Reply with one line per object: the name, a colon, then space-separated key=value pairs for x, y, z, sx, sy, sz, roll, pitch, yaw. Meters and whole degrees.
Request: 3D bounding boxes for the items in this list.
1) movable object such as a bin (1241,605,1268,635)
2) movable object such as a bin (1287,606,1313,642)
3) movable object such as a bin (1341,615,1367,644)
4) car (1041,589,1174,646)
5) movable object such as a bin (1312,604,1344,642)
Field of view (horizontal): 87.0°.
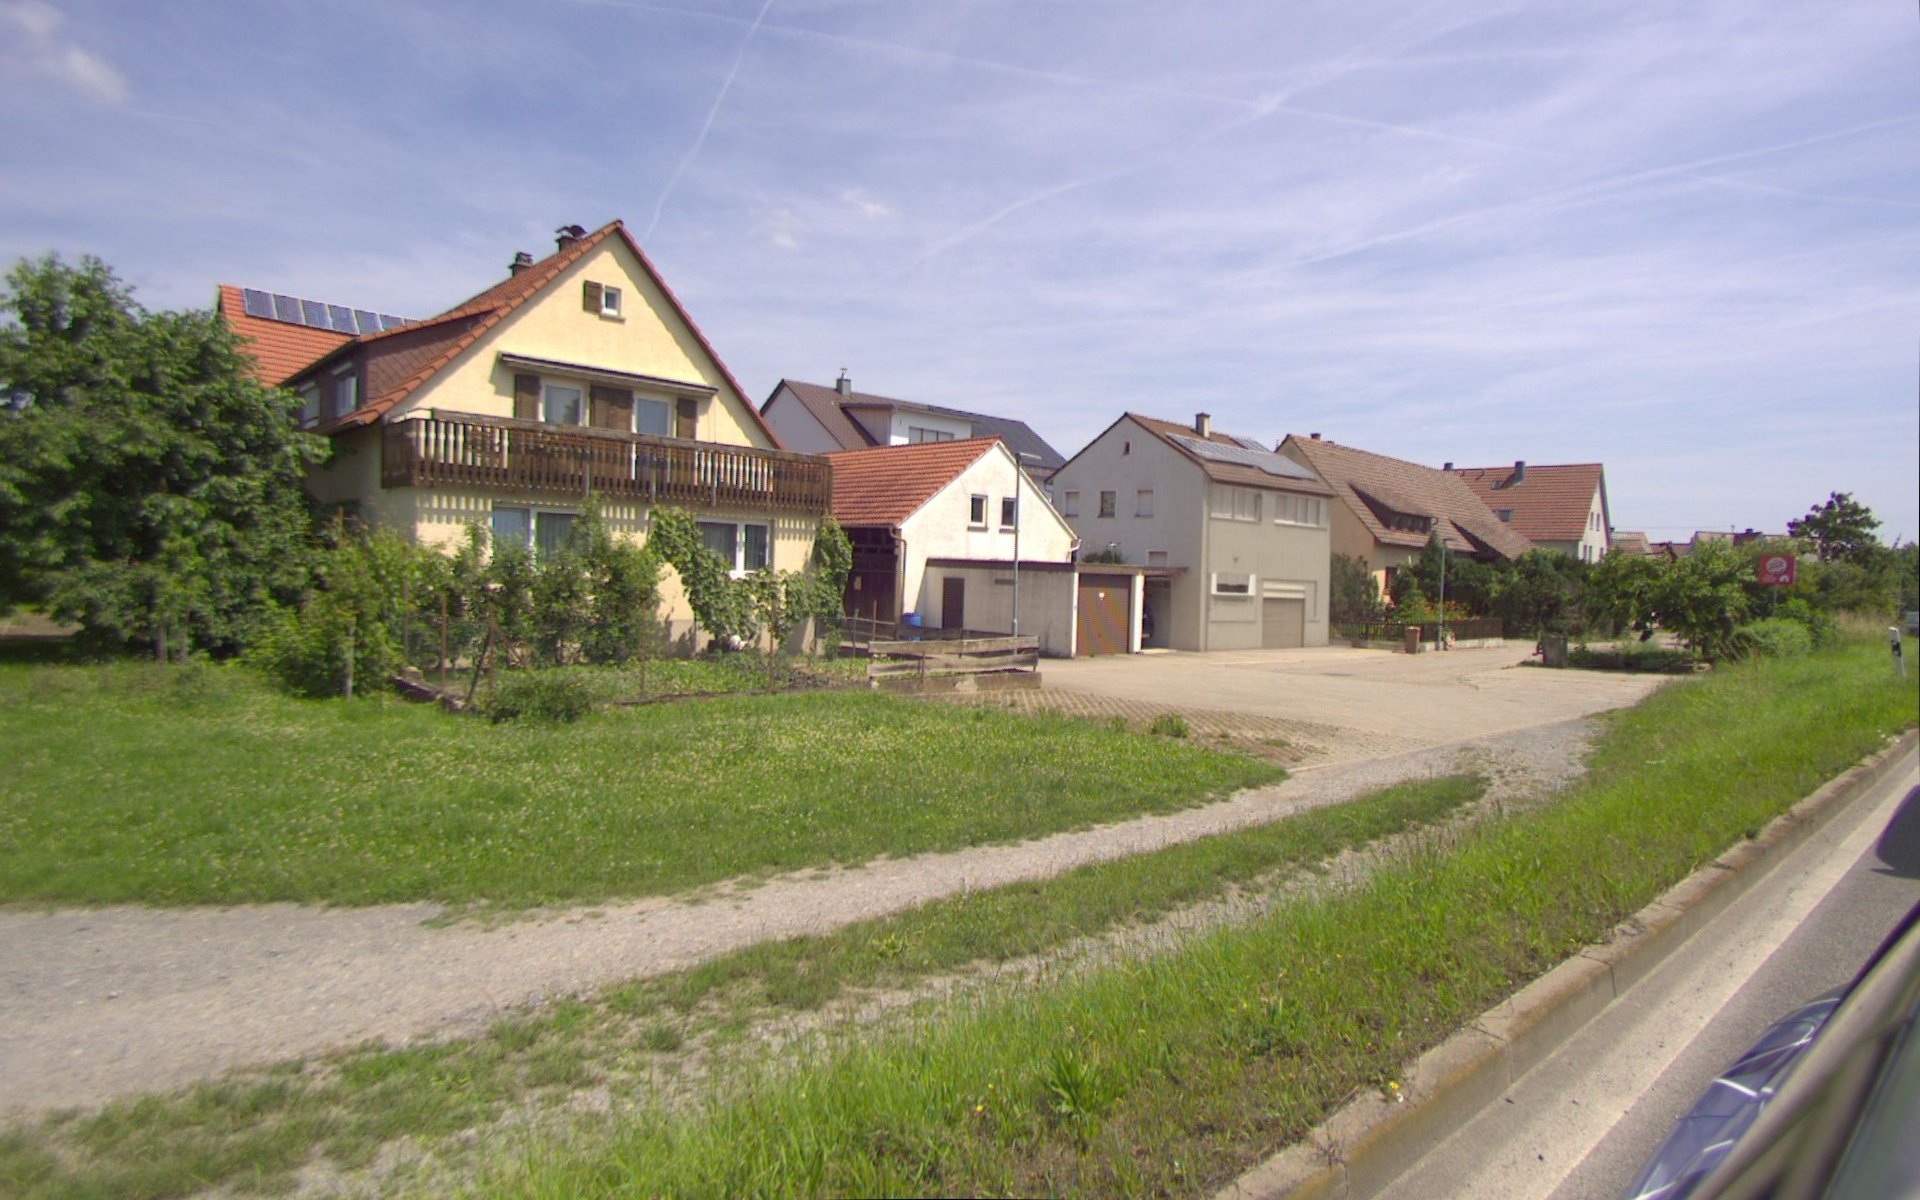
movable object such as a bin: x=11.855 y=0.797 z=40.698 sx=0.816 sy=1.171 sz=0.739 roll=1 pitch=0 yaw=-42
movable object such as a bin: x=13.264 y=0.935 z=39.482 sx=0.806 sy=1.355 sz=0.677 roll=1 pitch=0 yaw=-42
movable object such as a bin: x=14.636 y=1.088 z=37.567 sx=0.743 sy=1.040 sz=0.645 roll=1 pitch=0 yaw=-42
car: x=4.624 y=0.510 z=32.197 sx=1.794 sy=1.624 sz=3.995 roll=1 pitch=1 yaw=-40
movable object such as a bin: x=13.919 y=0.864 z=38.270 sx=0.930 sy=1.387 sz=0.764 roll=1 pitch=0 yaw=-42
